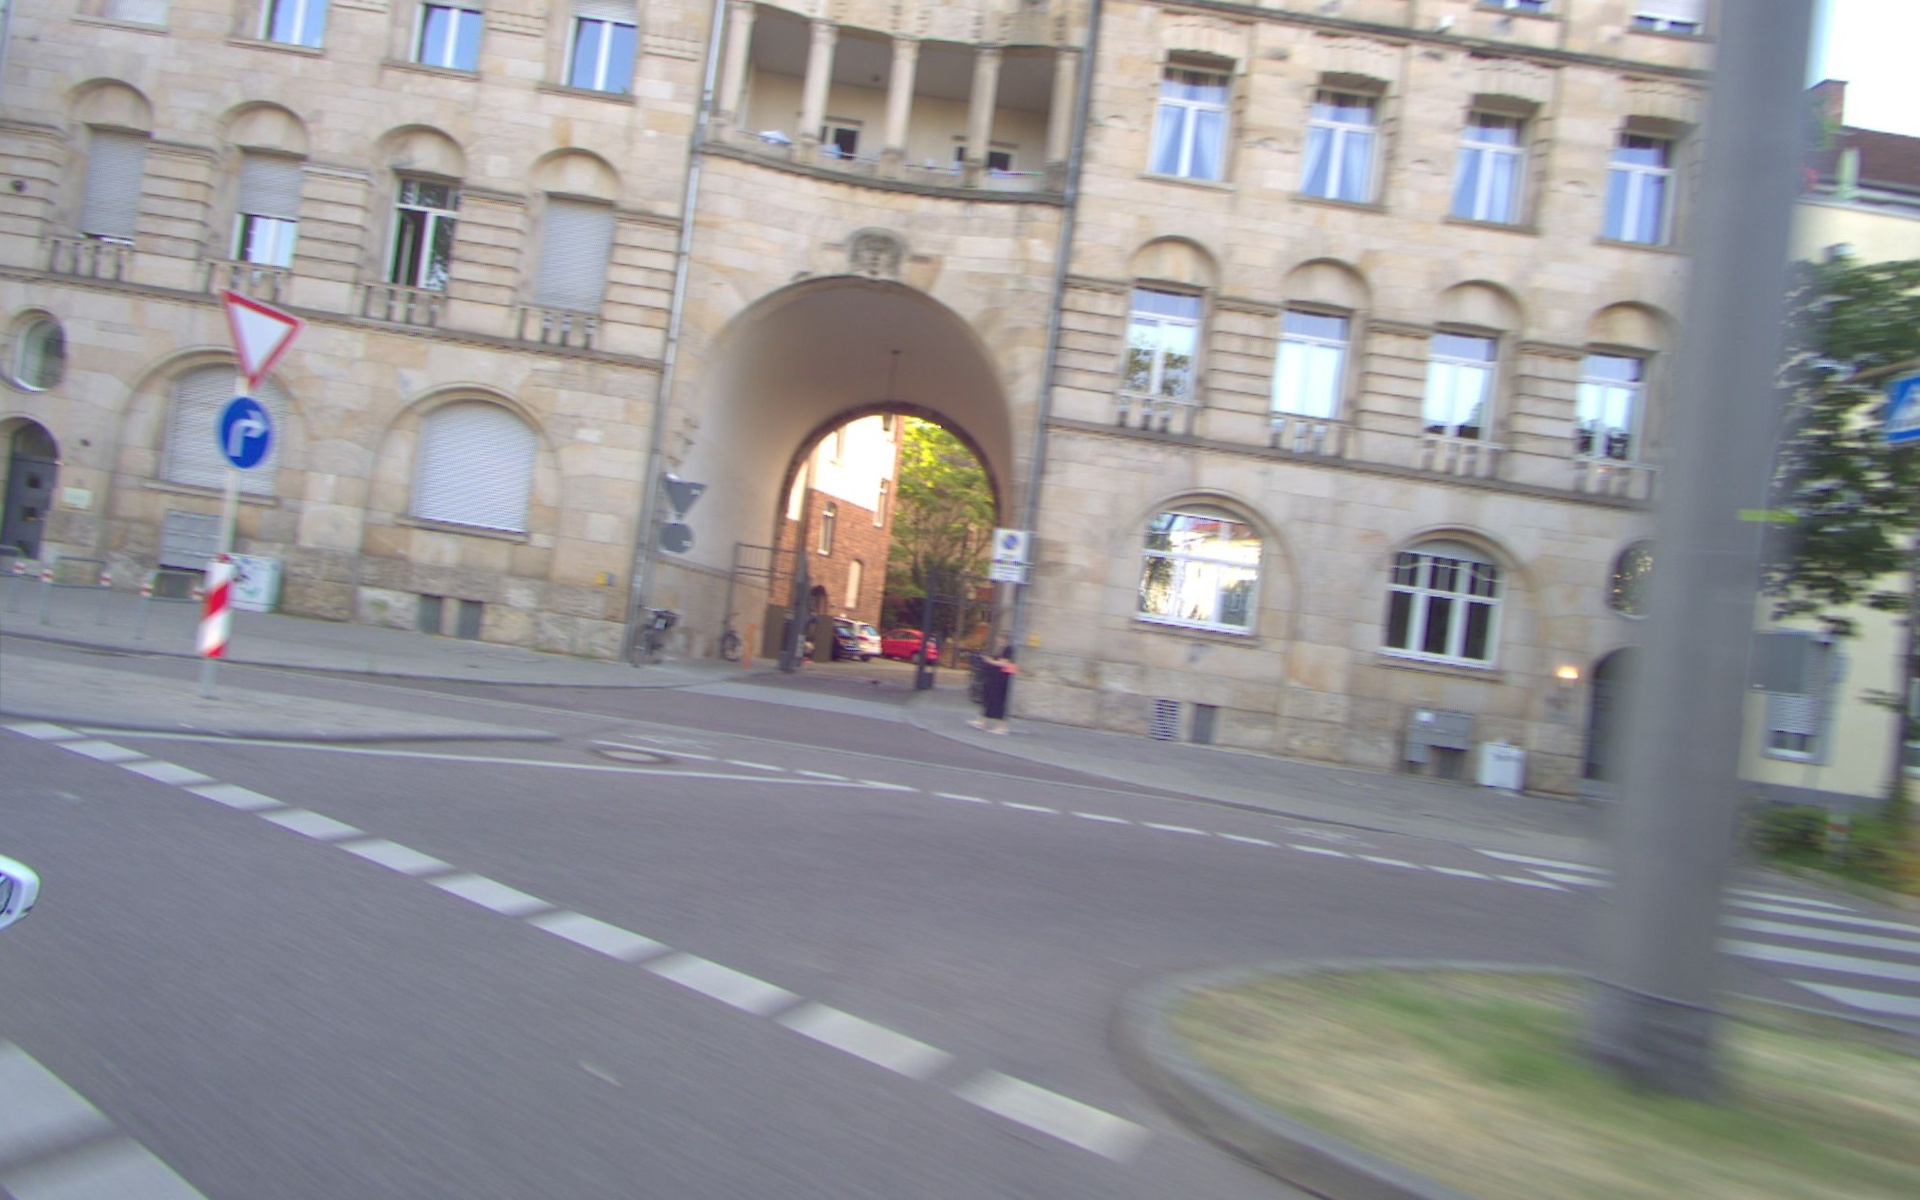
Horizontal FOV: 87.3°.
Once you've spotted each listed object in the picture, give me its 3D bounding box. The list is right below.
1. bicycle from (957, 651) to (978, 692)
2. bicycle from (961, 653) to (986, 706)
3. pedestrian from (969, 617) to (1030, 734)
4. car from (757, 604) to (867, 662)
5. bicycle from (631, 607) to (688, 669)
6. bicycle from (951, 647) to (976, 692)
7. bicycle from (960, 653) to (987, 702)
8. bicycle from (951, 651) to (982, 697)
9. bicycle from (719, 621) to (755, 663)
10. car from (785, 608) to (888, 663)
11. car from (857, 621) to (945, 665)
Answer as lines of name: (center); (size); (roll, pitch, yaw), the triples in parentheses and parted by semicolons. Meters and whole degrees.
bicycle: (0.195, 1.903, 26.829); (0.368, 0.981, 1.255); (8, -1, -1)
bicycle: (0.279, 1.667, 21.304); (0.354, 0.997, 1.442); (8, -1, -1)
pedestrian: (0.633, 1.183, 15.946); (0.708, 1.729, 0.578); (8, 0, 3)
car: (-5.617, 1.261, 38.191); (3.619, 1.613, 1.626); (8, -1, 21)
bicycle: (-5.712, 0.712, 19.223); (0.421, 1.085, 1.856); (8, -1, -1)
bicycle: (0.092, 1.938, 28.352); (0.525, 1.141, 1.614); (9, -1, -1)
bicycle: (0.300, 1.759, 23.115); (0.406, 0.997, 1.734); (8, -1, -1)
bicycle: (0.156, 1.828, 25.028); (0.598, 0.981, 1.572); (9, -1, -1)
bicycle: (-5.590, 1.046, 25.296); (0.473, 0.967, 1.513); (9, -1, -1)
car: (-4.963, 1.418, 40.564); (3.619, 1.613, 1.626); (8, -1, 21)
car: (-2.746, 2.016, 46.861); (3.619, 1.462, 1.626); (8, -1, 21)
